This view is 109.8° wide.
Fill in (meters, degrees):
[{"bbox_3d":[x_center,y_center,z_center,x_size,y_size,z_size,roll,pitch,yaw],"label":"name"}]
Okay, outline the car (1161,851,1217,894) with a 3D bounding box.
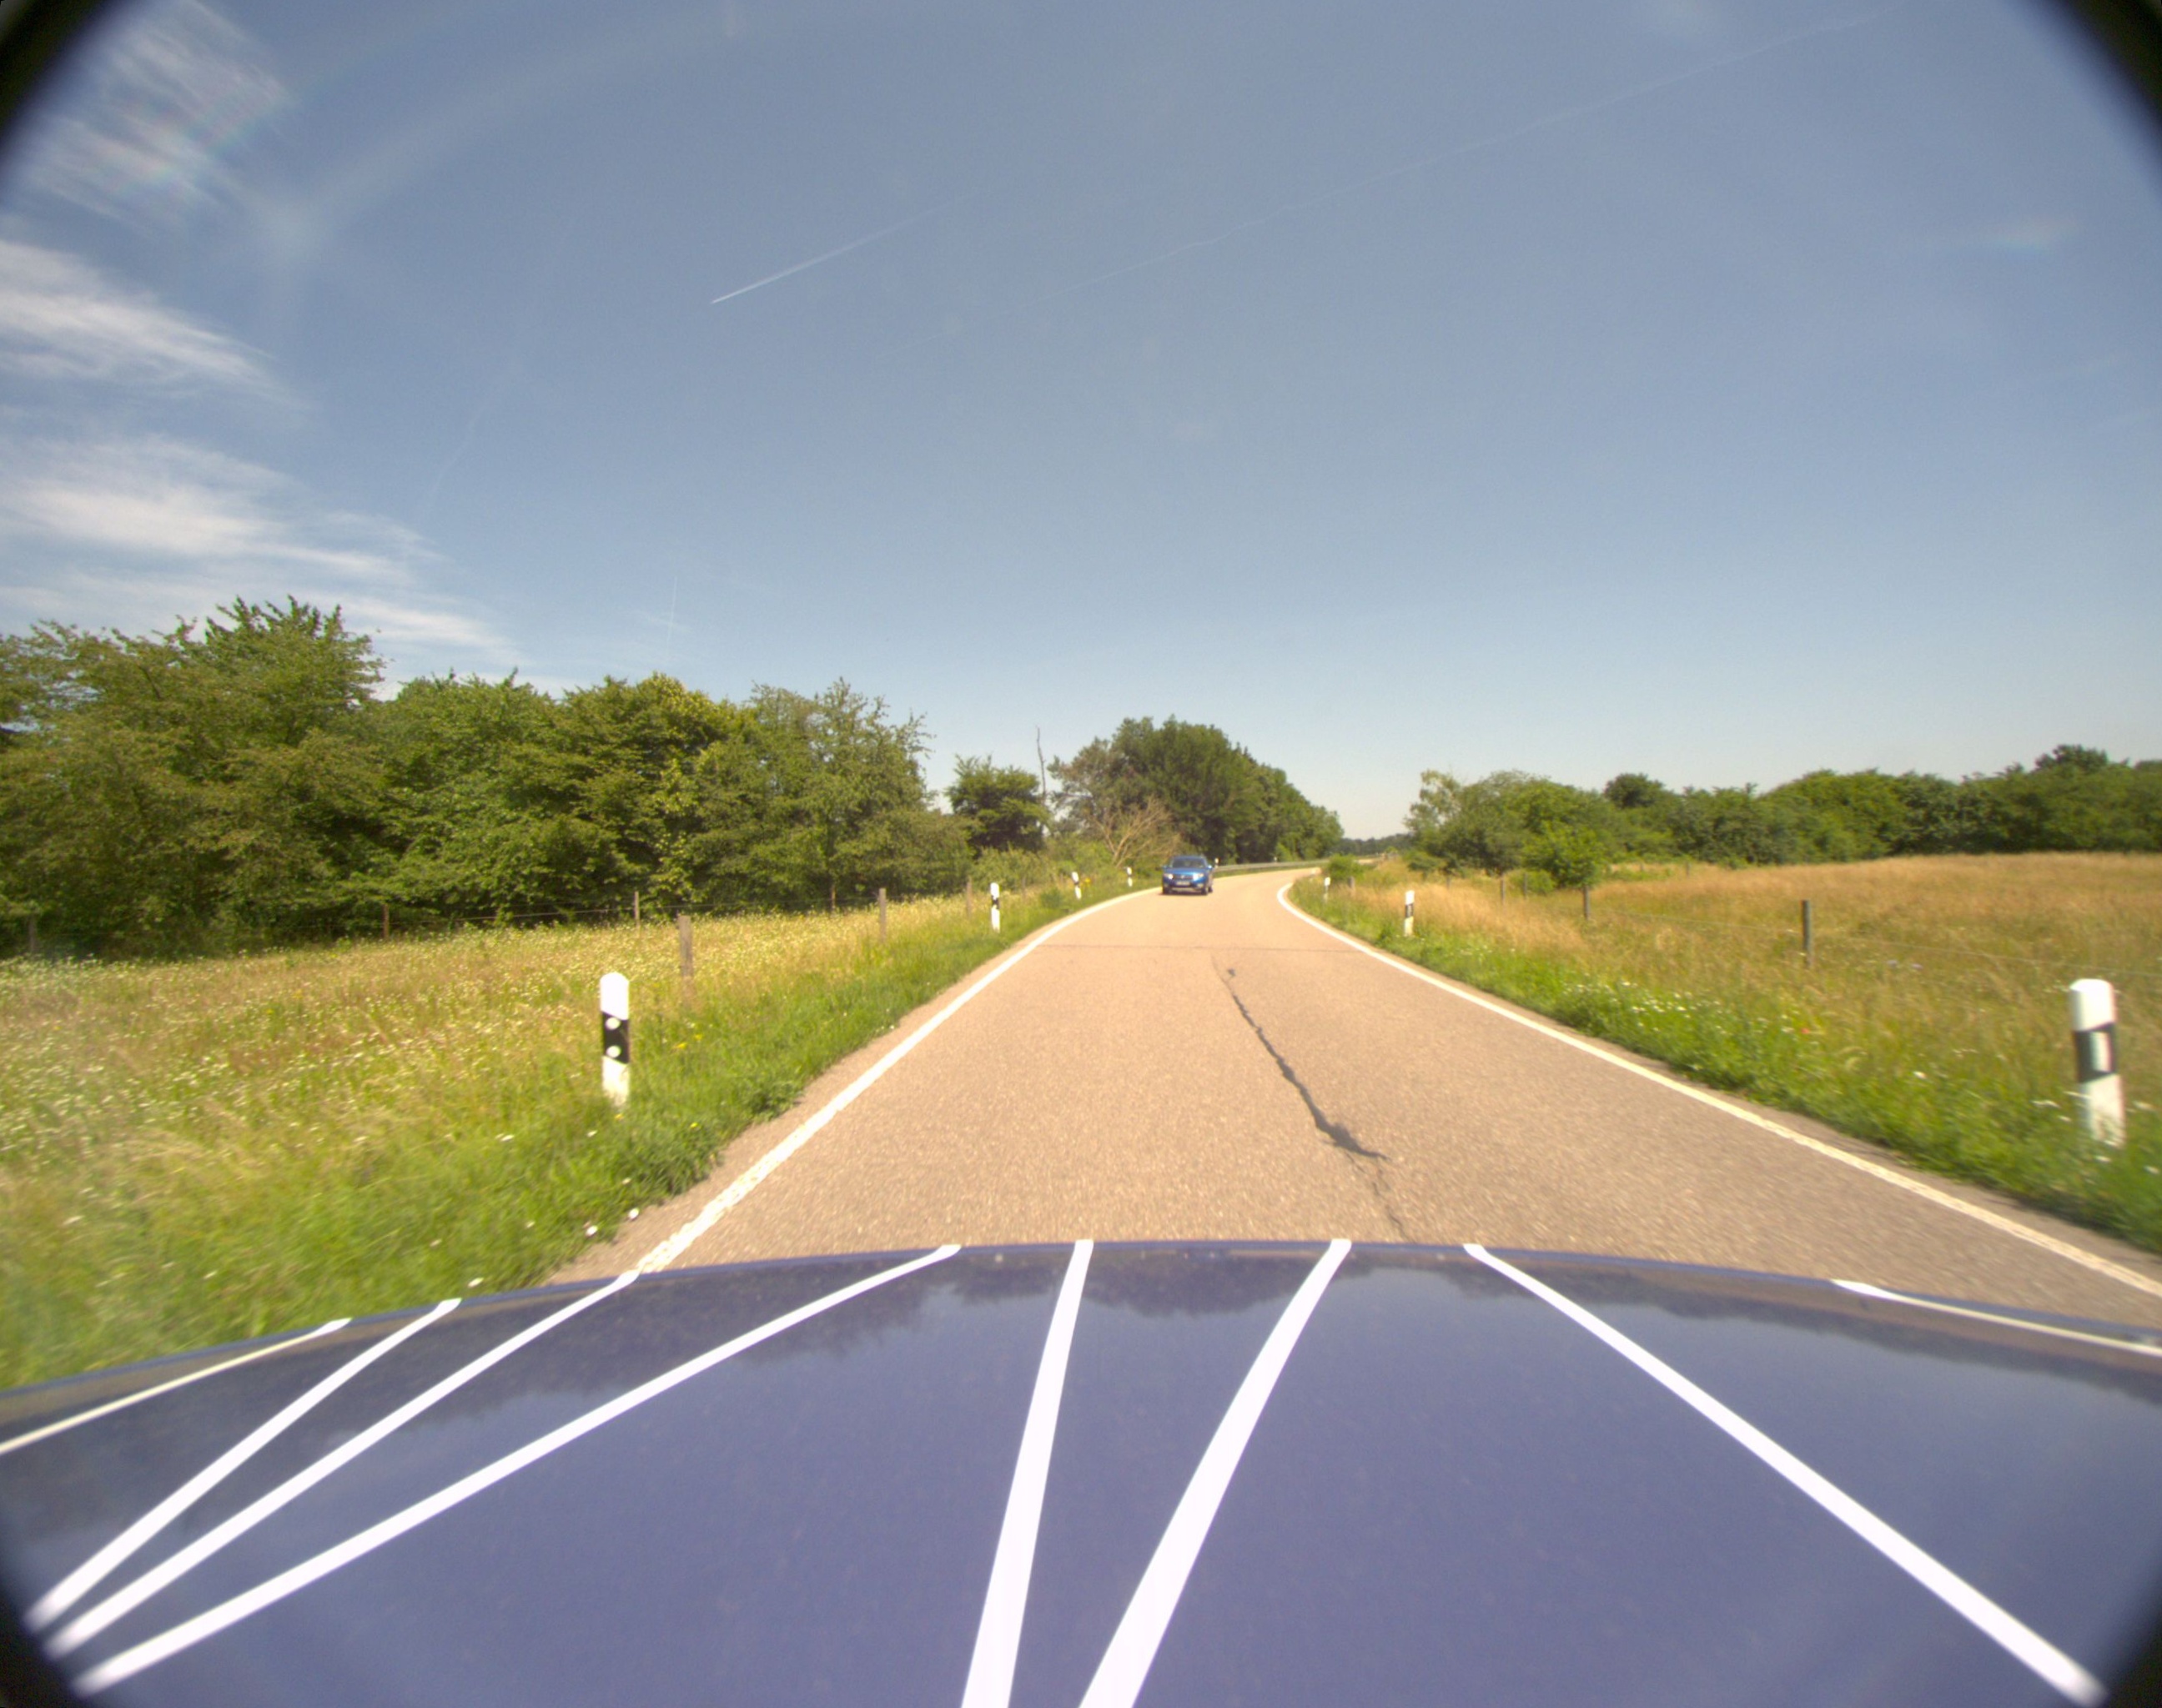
[{"bbox_3d":[4.401,0.678,30.550,1.732,1.572,4.004,0,1,15],"label":"car"}]
